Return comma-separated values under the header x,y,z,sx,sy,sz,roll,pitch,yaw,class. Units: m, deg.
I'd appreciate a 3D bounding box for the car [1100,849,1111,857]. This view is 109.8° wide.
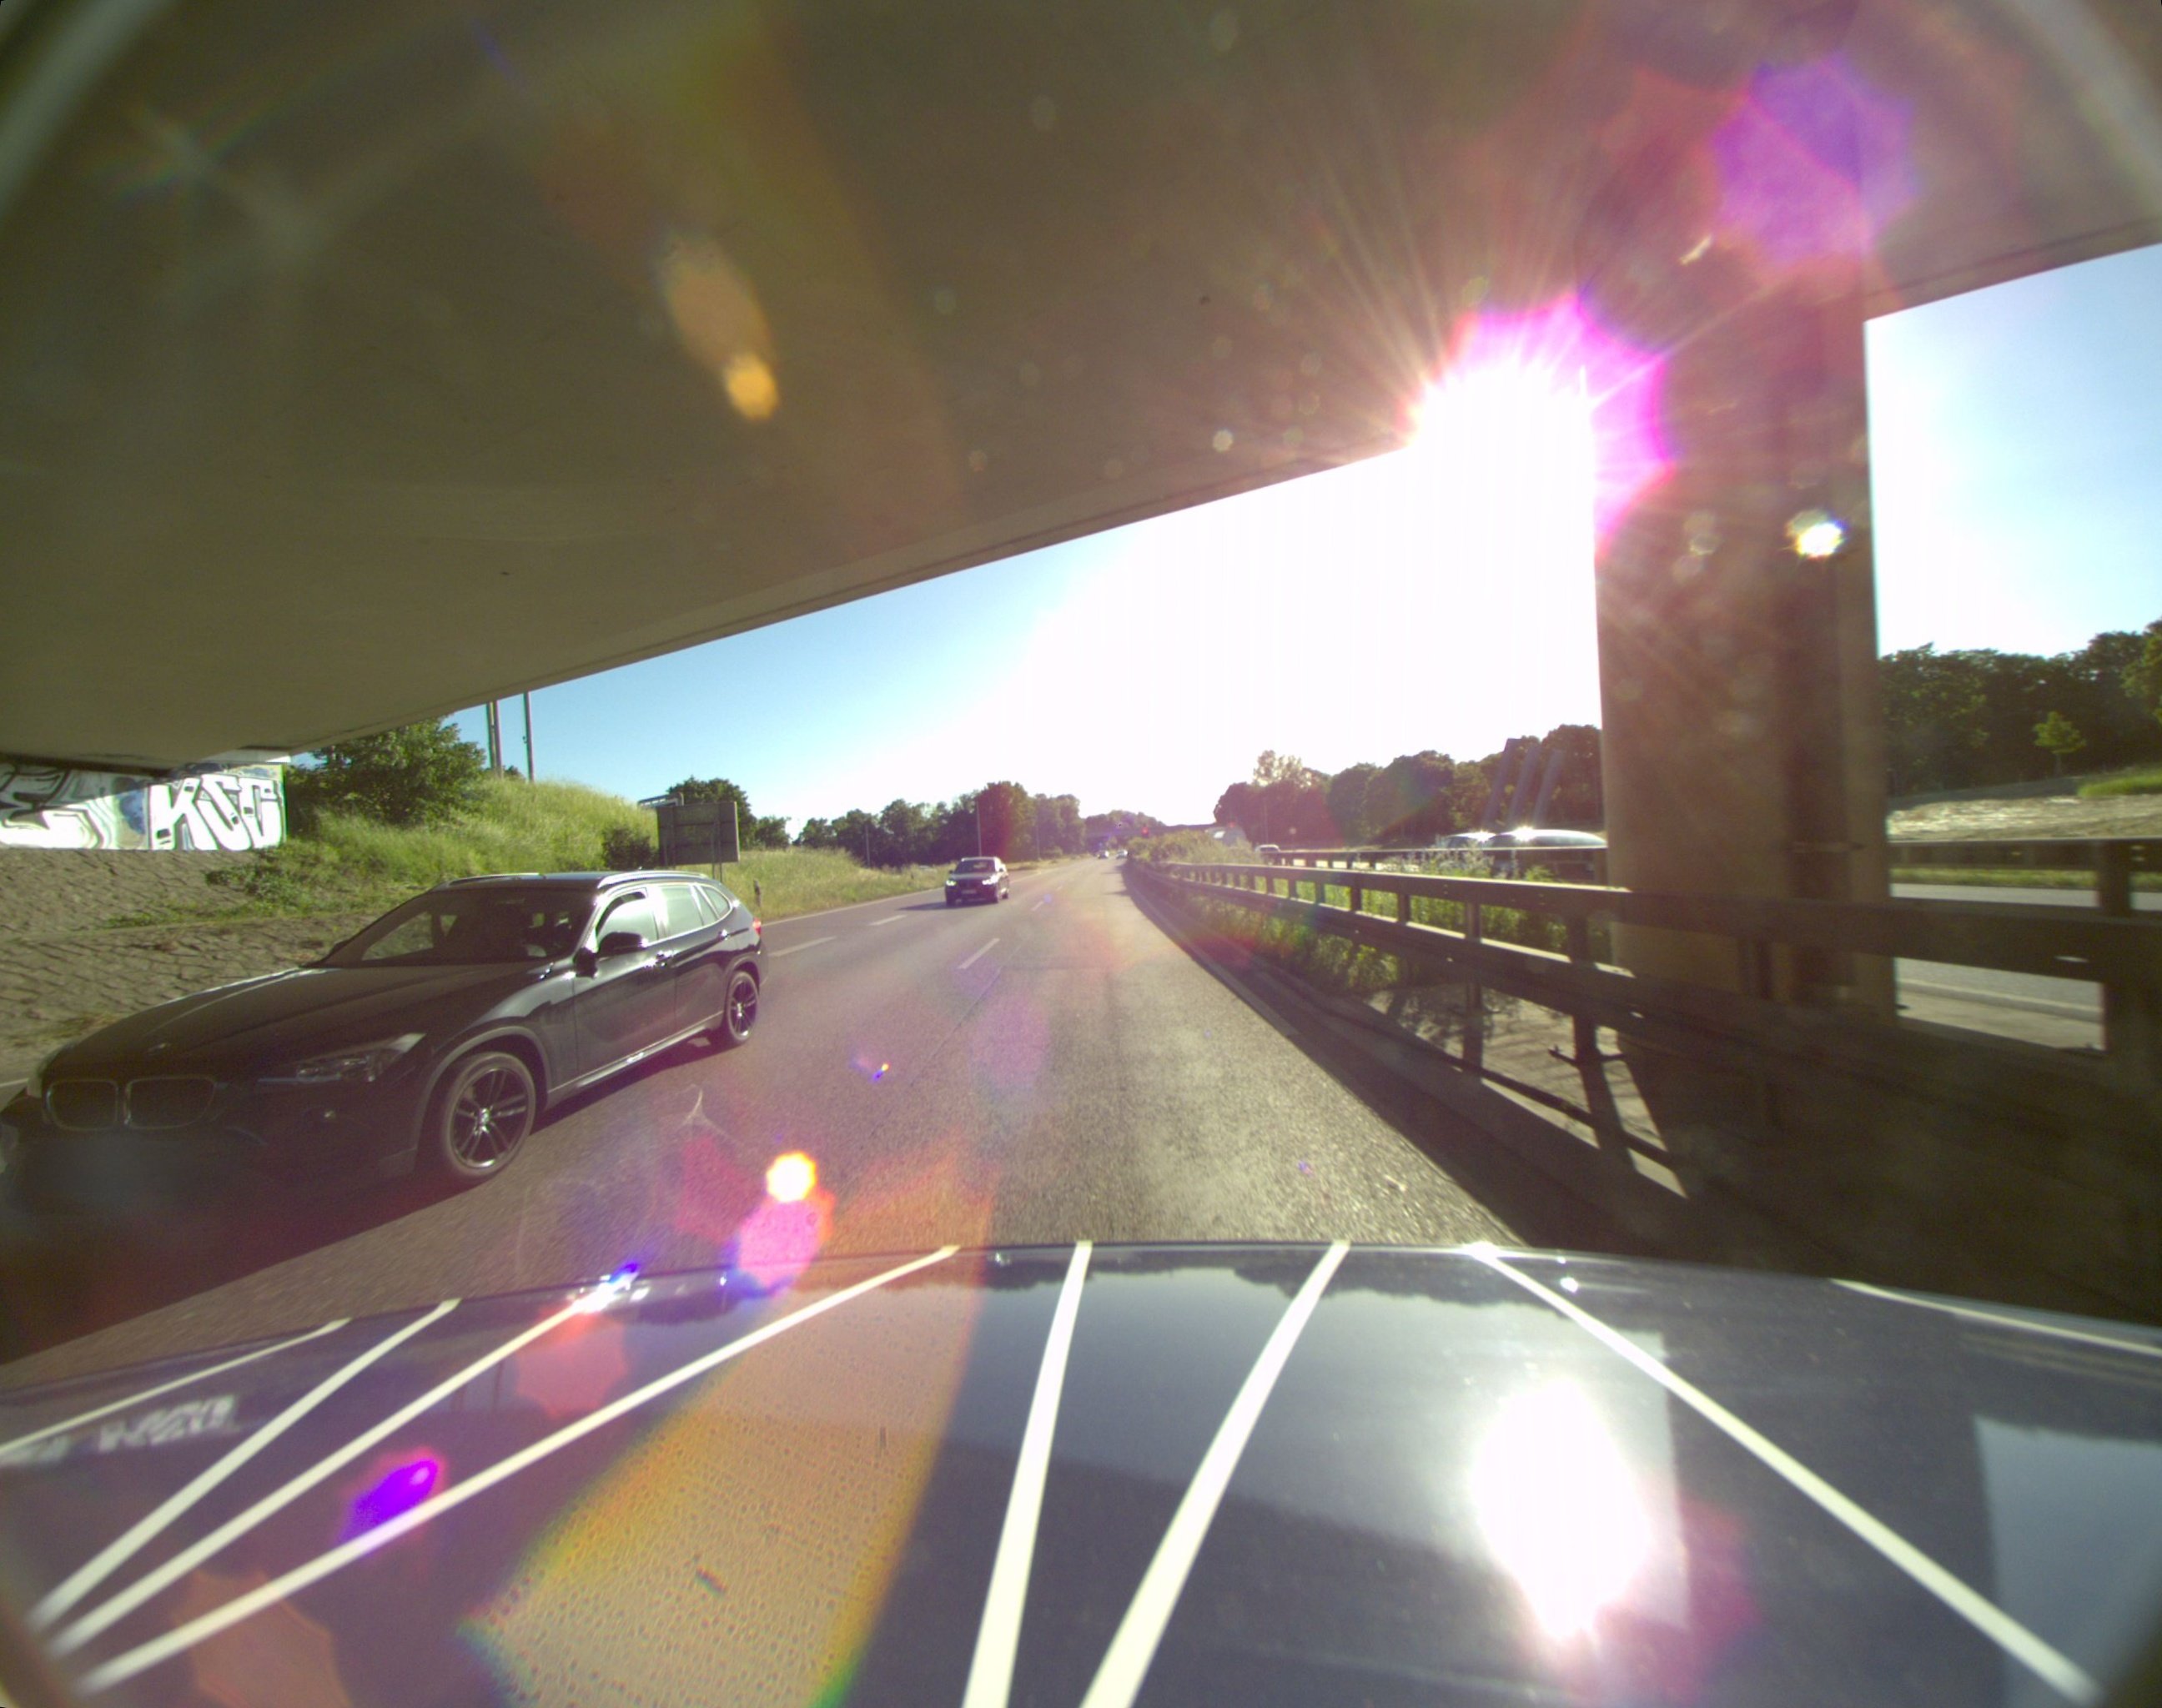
x,y,z,sx,sy,sz,roll,pitch,yaw,class
4.418,-0.187,136.152,1.682,1.412,3.671,-3,0,8,car

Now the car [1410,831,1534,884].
x,y,z,sx,sy,sz,roll,pitch,yaw,class
12.521,0.090,24.691,1.753,1.497,4.457,-2,0,1,car

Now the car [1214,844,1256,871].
x,y,z,sx,sy,sz,roll,pitch,yaw,class
9.161,0.212,45.447,1.765,1.435,4.110,-3,0,2,car

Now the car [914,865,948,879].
x,y,z,sx,sy,sz,roll,pitch,yaw,class
-18.710,2.281,94.987,3.989,1.681,1.872,-2,0,34,car

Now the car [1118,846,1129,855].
x,y,z,sx,sy,sz,roll,pitch,yaw,class
7.358,-0.594,130.776,1.725,1.412,3.671,-3,0,5,car

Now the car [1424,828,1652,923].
x,y,z,sx,sy,sz,roll,pitch,yaw,class
8.487,0.355,14.623,1.753,1.497,4.224,-2,0,-1,car

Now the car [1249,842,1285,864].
x,y,z,sx,sy,sz,roll,pitch,yaw,class
13.595,-0.074,55.824,1.765,1.435,4.110,-3,0,3,car

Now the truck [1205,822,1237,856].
x,y,z,sx,sy,sz,roll,pitch,yaw,class
15.825,-1.667,86.205,2.783,3.636,5.324,-3,0,3,truck

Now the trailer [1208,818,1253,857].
x,y,z,sx,sy,sz,roll,pitch,yaw,class
15.531,-1.591,79.780,2.783,3.636,12.206,-3,0,3,trailer

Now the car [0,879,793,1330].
x,y,z,sx,sy,sz,roll,pitch,yaw,class
-3.763,1.037,5.152,1.703,1.497,4.579,-2,0,2,car

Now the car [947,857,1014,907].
x,y,z,sx,sy,sz,roll,pitch,yaw,class
-3.605,0.949,27.981,1.759,1.564,4.520,-2,1,1,car
